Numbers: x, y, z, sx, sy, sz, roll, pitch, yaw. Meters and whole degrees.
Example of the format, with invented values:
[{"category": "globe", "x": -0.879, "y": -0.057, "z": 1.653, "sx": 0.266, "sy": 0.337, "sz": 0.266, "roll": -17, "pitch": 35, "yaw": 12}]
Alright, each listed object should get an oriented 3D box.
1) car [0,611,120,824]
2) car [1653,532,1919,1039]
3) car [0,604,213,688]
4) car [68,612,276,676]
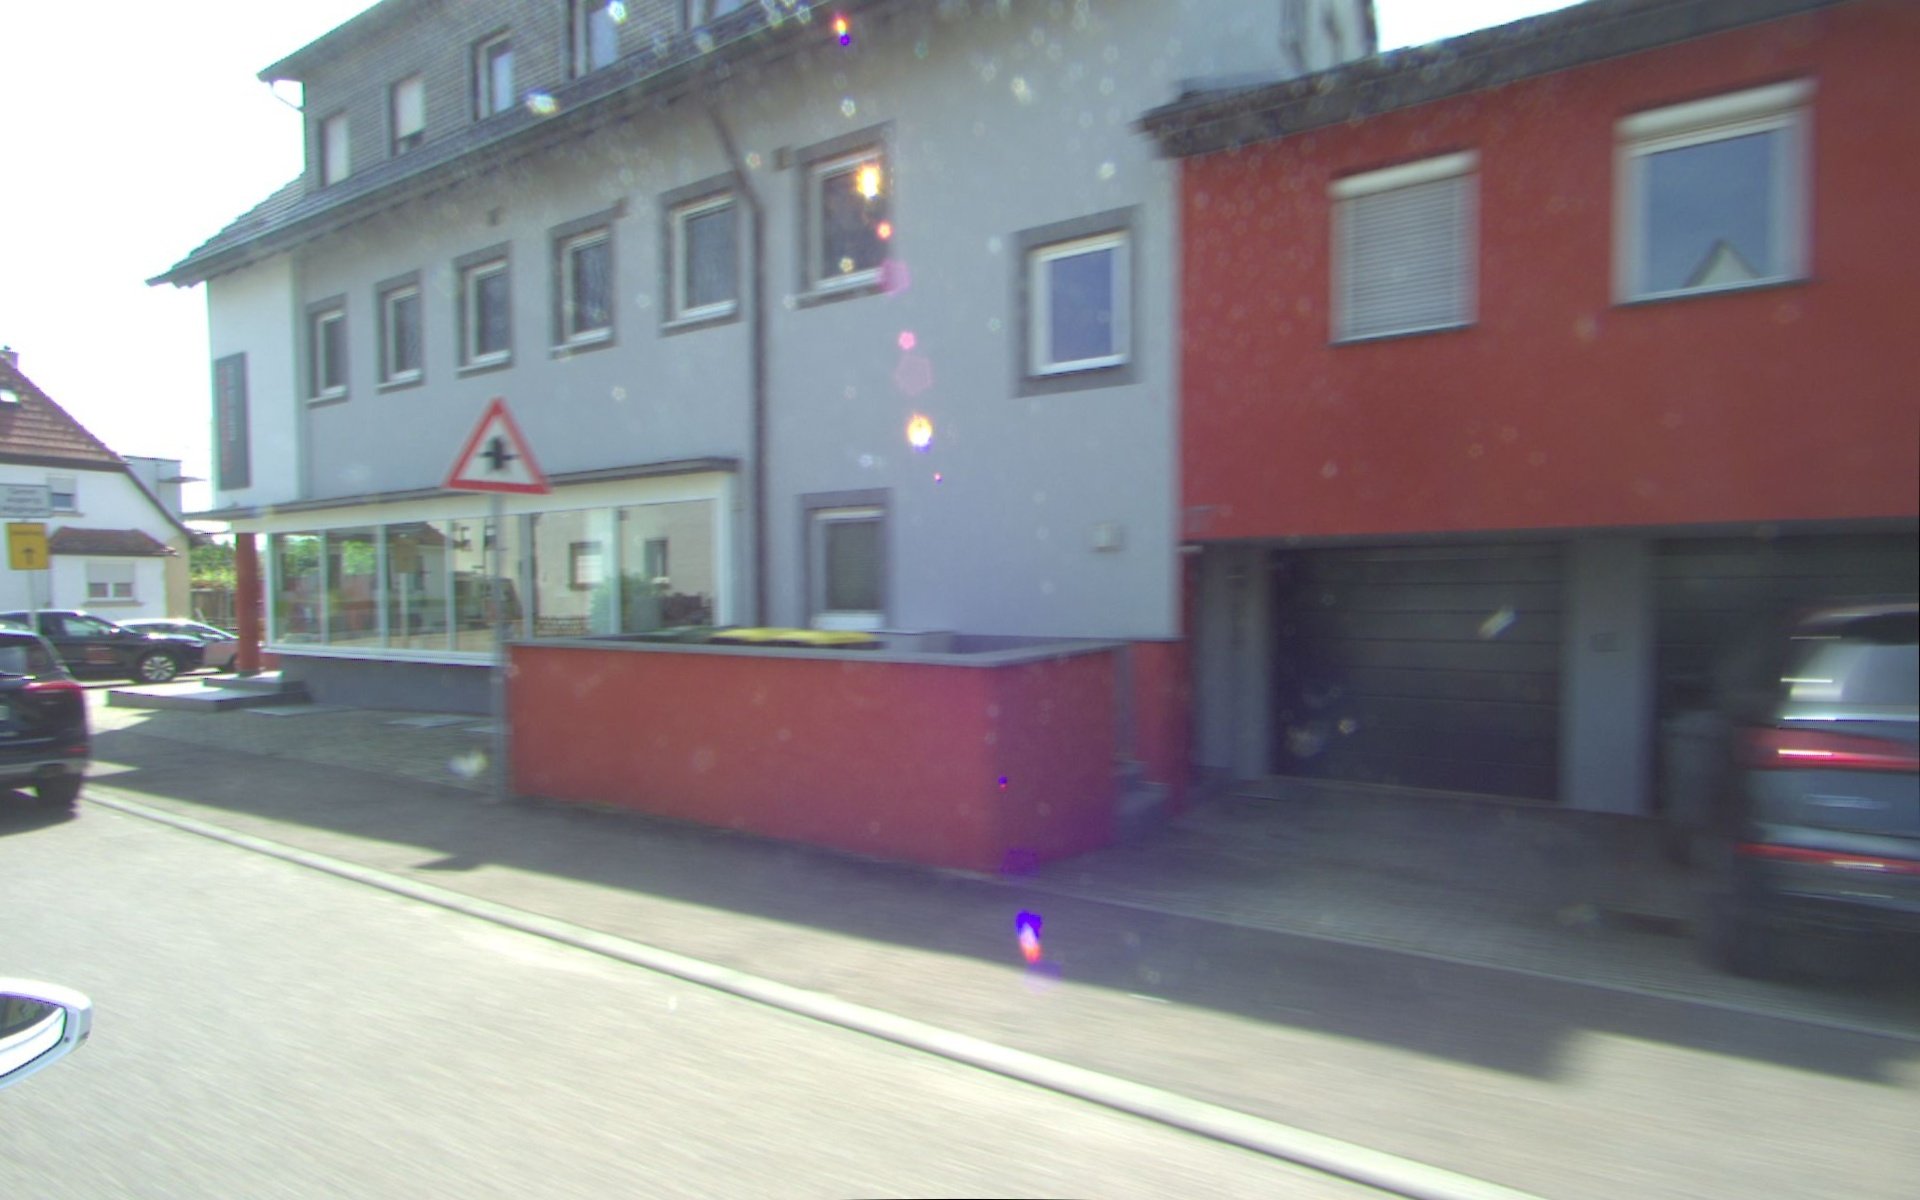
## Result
[{"category": "car", "x": -8.879, "y": 0.868, "z": 8.330, "sx": 4.344, "sy": 1.547, "sz": 1.758, "roll": -1, "pitch": -1, "yaw": 34}, {"category": "car", "x": 4.692, "y": 0.824, "z": 4.985, "sx": 1.850, "sy": 1.688, "sz": 4.365, "roll": 0, "pitch": -6, "yaw": 32}, {"category": "car", "x": -18.959, "y": 0.930, "z": 21.574, "sx": 1.825, "sy": 1.675, "sz": 4.275, "roll": 0, "pitch": 0, "yaw": 39}, {"category": "car", "x": -20.430, "y": 1.082, "z": 26.114, "sx": 1.672, "sy": 1.524, "sz": 3.974, "roll": 0, "pitch": 0, "yaw": 36}]
